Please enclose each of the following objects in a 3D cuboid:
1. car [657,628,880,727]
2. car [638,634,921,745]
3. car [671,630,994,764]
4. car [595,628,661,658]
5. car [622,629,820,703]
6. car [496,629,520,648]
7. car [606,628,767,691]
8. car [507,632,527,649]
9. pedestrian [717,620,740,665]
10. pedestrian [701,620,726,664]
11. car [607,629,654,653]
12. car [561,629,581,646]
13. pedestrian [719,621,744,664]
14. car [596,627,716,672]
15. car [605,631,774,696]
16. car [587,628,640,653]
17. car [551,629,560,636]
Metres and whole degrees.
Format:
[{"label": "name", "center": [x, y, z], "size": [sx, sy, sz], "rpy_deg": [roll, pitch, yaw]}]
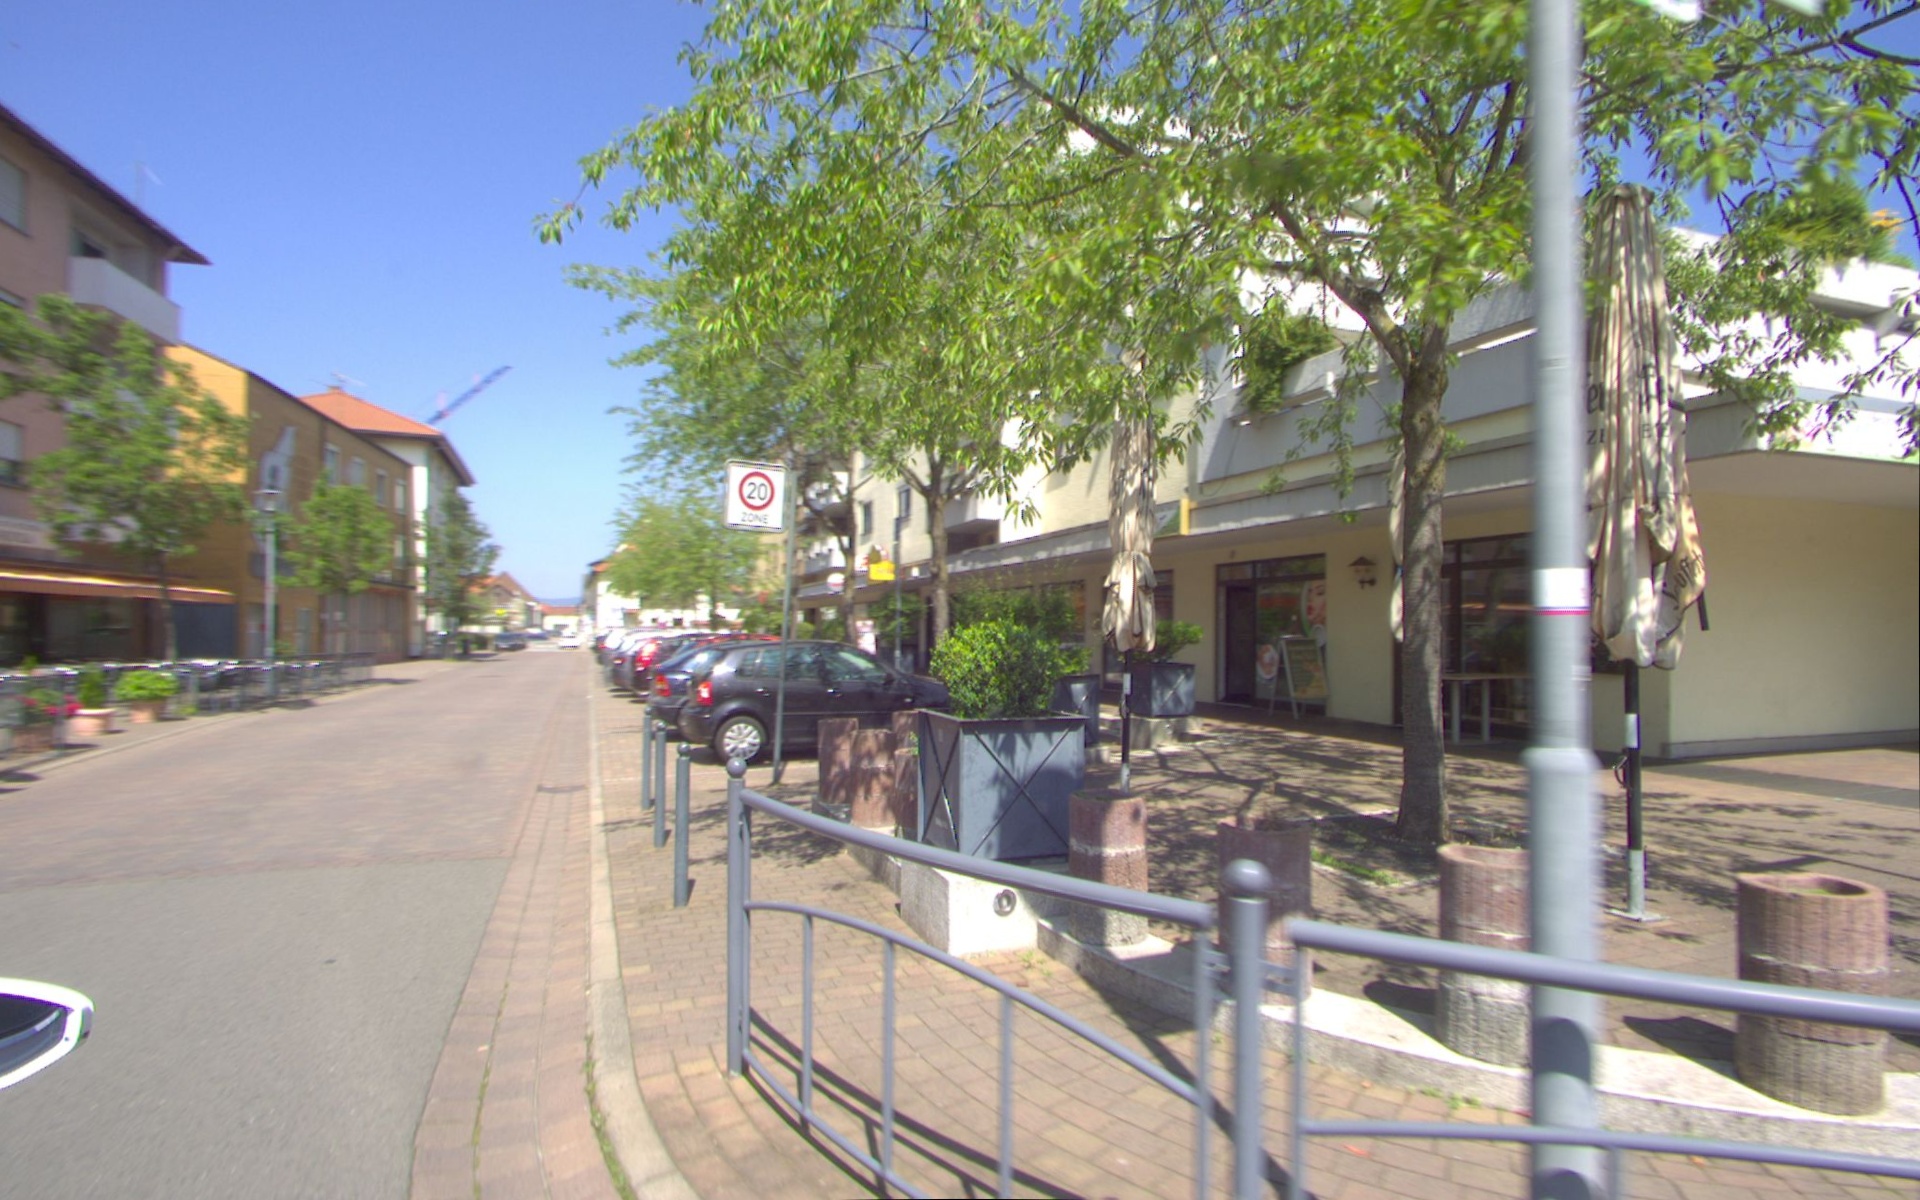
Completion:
[{"label": "car", "center": [-3.440, 1.311, 17.920], "size": [3.672, 1.555, 1.761], "rpy_deg": [0, -1, -21]}, {"label": "car", "center": [-2.806, 1.298, 15.494], "size": [4.041, 1.450, 1.779], "rpy_deg": [0, 0, -21]}, {"label": "car", "center": [-1.685, 1.171, 13.149], "size": [3.906, 1.529, 1.767], "rpy_deg": [0, -1, -22]}, {"label": "car", "center": [-18.855, 2.448, 56.931], "size": [3.475, 1.645, 1.706], "rpy_deg": [1, -2, -22]}, {"label": "car", "center": [-5.446, 1.445, 22.811], "size": [4.129, 1.561, 1.939], "rpy_deg": [1, -1, -24]}, {"label": "car", "center": [-37.715, 3.190, 83.605], "size": [1.487, 1.520, 3.817], "rpy_deg": [1, -1, -20]}, {"label": "car", "center": [-7.430, 1.594, 27.243], "size": [4.095, 1.594, 1.755], "rpy_deg": [1, -1, -19]}, {"label": "car", "center": [-41.903, 3.784, 94.766], "size": [1.487, 1.520, 3.817], "rpy_deg": [1, -1, -20]}, {"label": "pedestrian", "center": [-9.496, 1.735, 41.052], "size": [0.824, 1.810, 0.806], "rpy_deg": [1, 0, -8]}, {"label": "pedestrian", "center": [-10.314, 1.737, 41.864], "size": [0.827, 1.810, 0.803], "rpy_deg": [1, 0, -27]}, {"label": "car", "center": [-24.902, 3.090, 75.644], "size": [3.303, 1.737, 1.466], "rpy_deg": [1, -2, -22]}, {"label": "car", "center": [-39.955, 3.842, 102.845], "size": [1.806, 1.552, 3.935], "rpy_deg": [1, -1, -20]}, {"label": "pedestrian", "center": [-9.746, 1.803, 42.716], "size": [0.827, 1.810, 0.803], "rpy_deg": [1, 0, -27]}, {"label": "car", "center": [-11.429, 1.833, 37.644], "size": [4.187, 1.636, 1.554], "rpy_deg": [1, -1, -22]}, {"label": "car", "center": [-6.635, 1.529, 24.700], "size": [3.879, 1.508, 1.713], "rpy_deg": [0, -1, -16]}, {"label": "car", "center": [-25.024, 2.938, 72.321], "size": [3.435, 1.722, 1.530], "rpy_deg": [0, -1, -26]}, {"label": "car", "center": [-89.508, 7.249, 221.630], "size": [1.723, 1.500, 3.620], "rpy_deg": [1, -1, -20]}]
